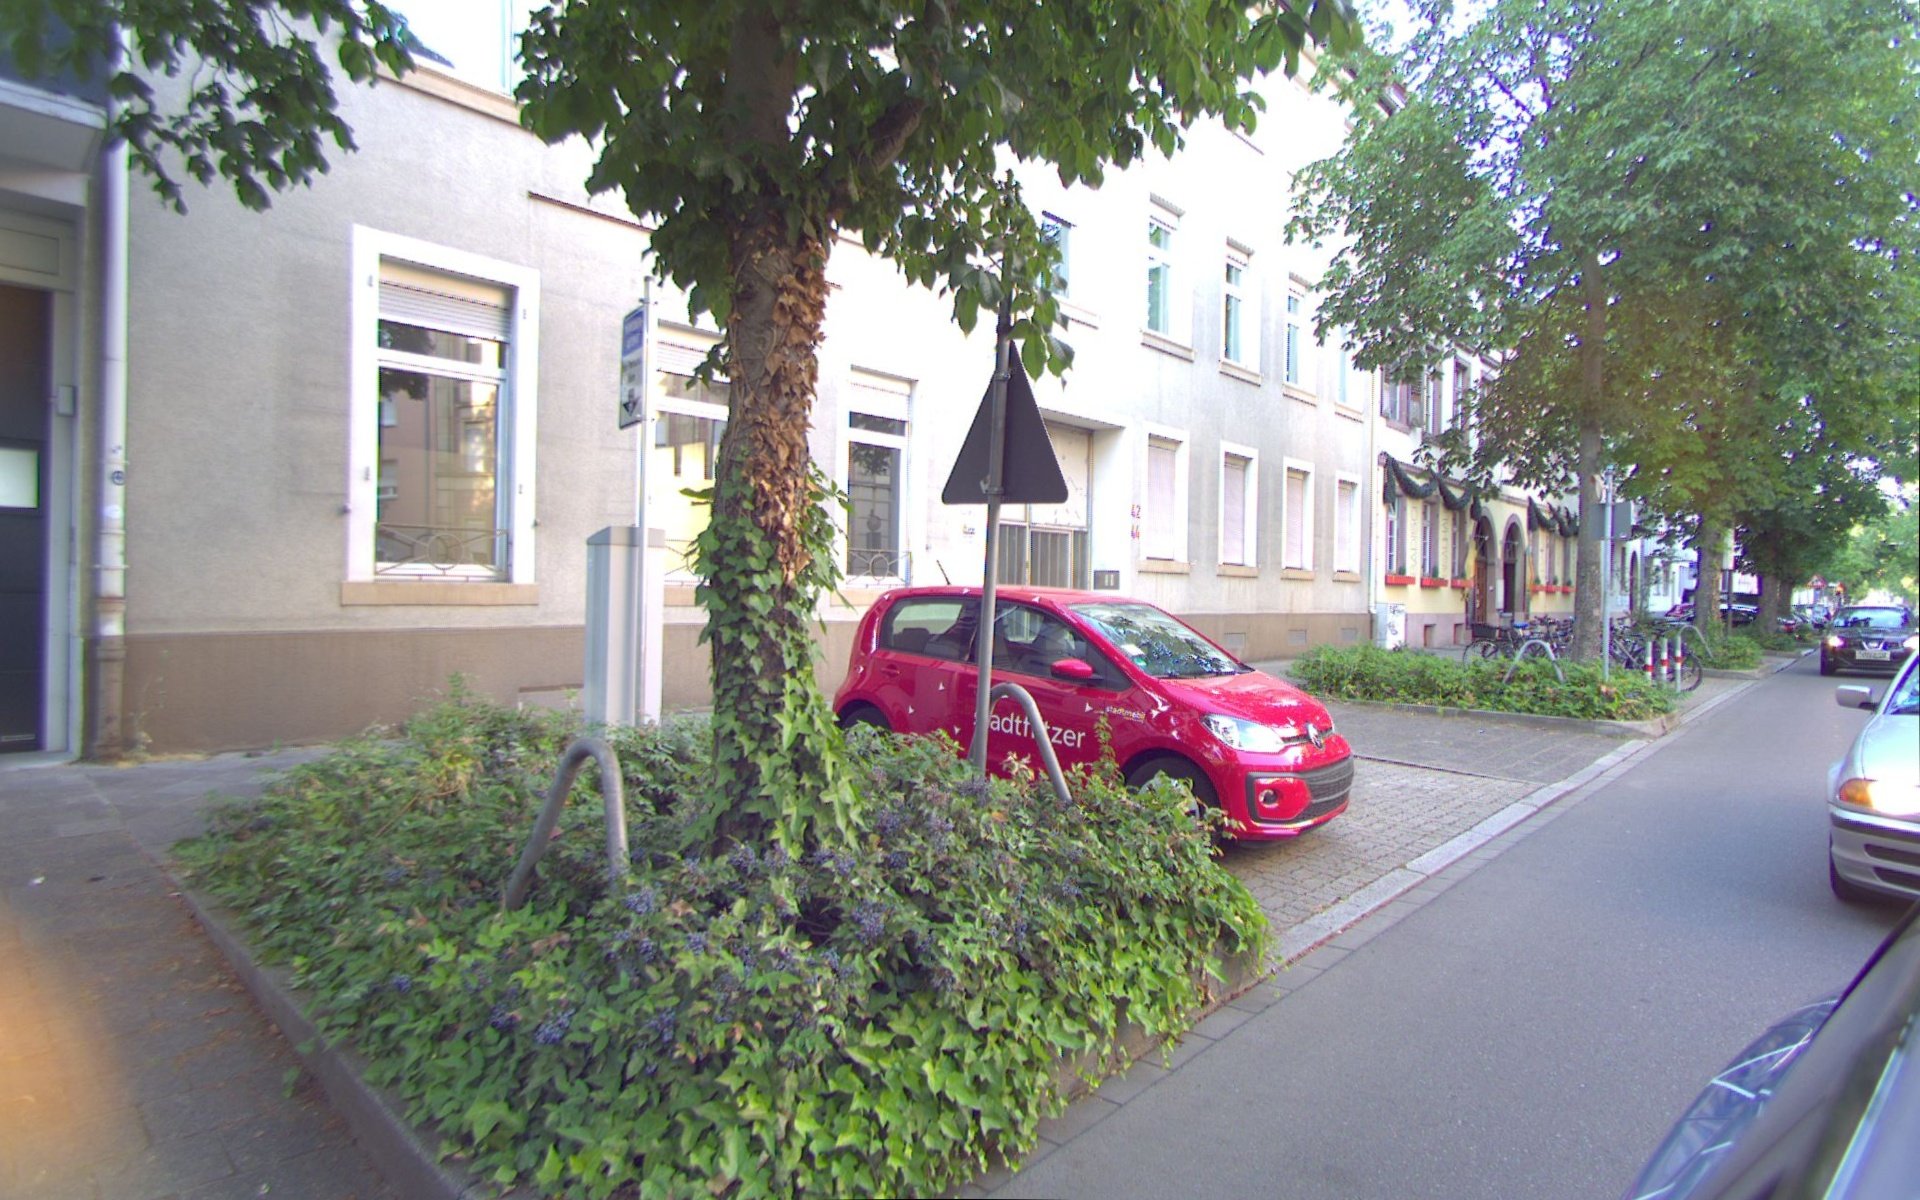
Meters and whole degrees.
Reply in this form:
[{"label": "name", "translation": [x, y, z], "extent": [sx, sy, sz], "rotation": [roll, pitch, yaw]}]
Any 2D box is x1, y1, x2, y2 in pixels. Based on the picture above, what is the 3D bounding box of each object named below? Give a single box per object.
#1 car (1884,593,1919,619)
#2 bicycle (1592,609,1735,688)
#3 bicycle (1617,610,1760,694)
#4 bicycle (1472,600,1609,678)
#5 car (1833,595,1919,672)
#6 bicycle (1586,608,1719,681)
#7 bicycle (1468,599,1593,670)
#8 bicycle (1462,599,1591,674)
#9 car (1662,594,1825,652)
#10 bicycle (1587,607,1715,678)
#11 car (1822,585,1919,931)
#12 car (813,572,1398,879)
[{"label": "car", "translation": [60.563, 0.381, 64.905], "extent": [1.802, 1.571, 3.936], "rotation": [2, 1, 44]}, {"label": "bicycle", "translation": [12.355, 0.823, 17.824], "extent": [2.019, 1.242, 0.528], "rotation": [2, 1, 39]}, {"label": "bicycle", "translation": [11.852, 0.822, 16.538], "extent": [1.835, 1.242, 0.529], "rotation": [2, 1, 33]}, {"label": "bicycle", "translation": [10.084, 0.649, 17.627], "extent": [2.014, 1.242, 0.529], "rotation": [2, 1, 33]}, {"label": "car", "translation": [20.932, 0.697, 22.667], "extent": [1.802, 1.571, 3.935], "rotation": [2, 1, 45]}, {"label": "bicycle", "translation": [12.990, 0.809, 19.017], "extent": [2.019, 1.242, 0.528], "rotation": [2, 1, 39]}, {"label": "bicycle", "translation": [10.931, 0.627, 19.431], "extent": [2.017, 1.242, 0.529], "rotation": [2, 1, 37]}, {"label": "bicycle", "translation": [10.300, 0.640, 18.437], "extent": [2.014, 1.242, 0.529], "rotation": [2, 1, 33]}, {"label": "car", "translation": [26.616, 0.719, 34.455], "extent": [4.232, 1.761, 1.715], "rotation": [2, 1, 43]}, {"label": "bicycle", "translation": [13.471, 0.799, 19.771], "extent": [2.019, 1.242, 0.528], "rotation": [2, 1, 39]}, {"label": "car", "translation": [6.056, 0.681, 5.297], "extent": [4.358, 1.460, 1.710], "rotation": [0, 1, -41]}, {"label": "car", "translation": [0.806, 0.581, 6.820], "extent": [3.608, 1.495, 1.639], "rotation": [2, 1, 42]}]
